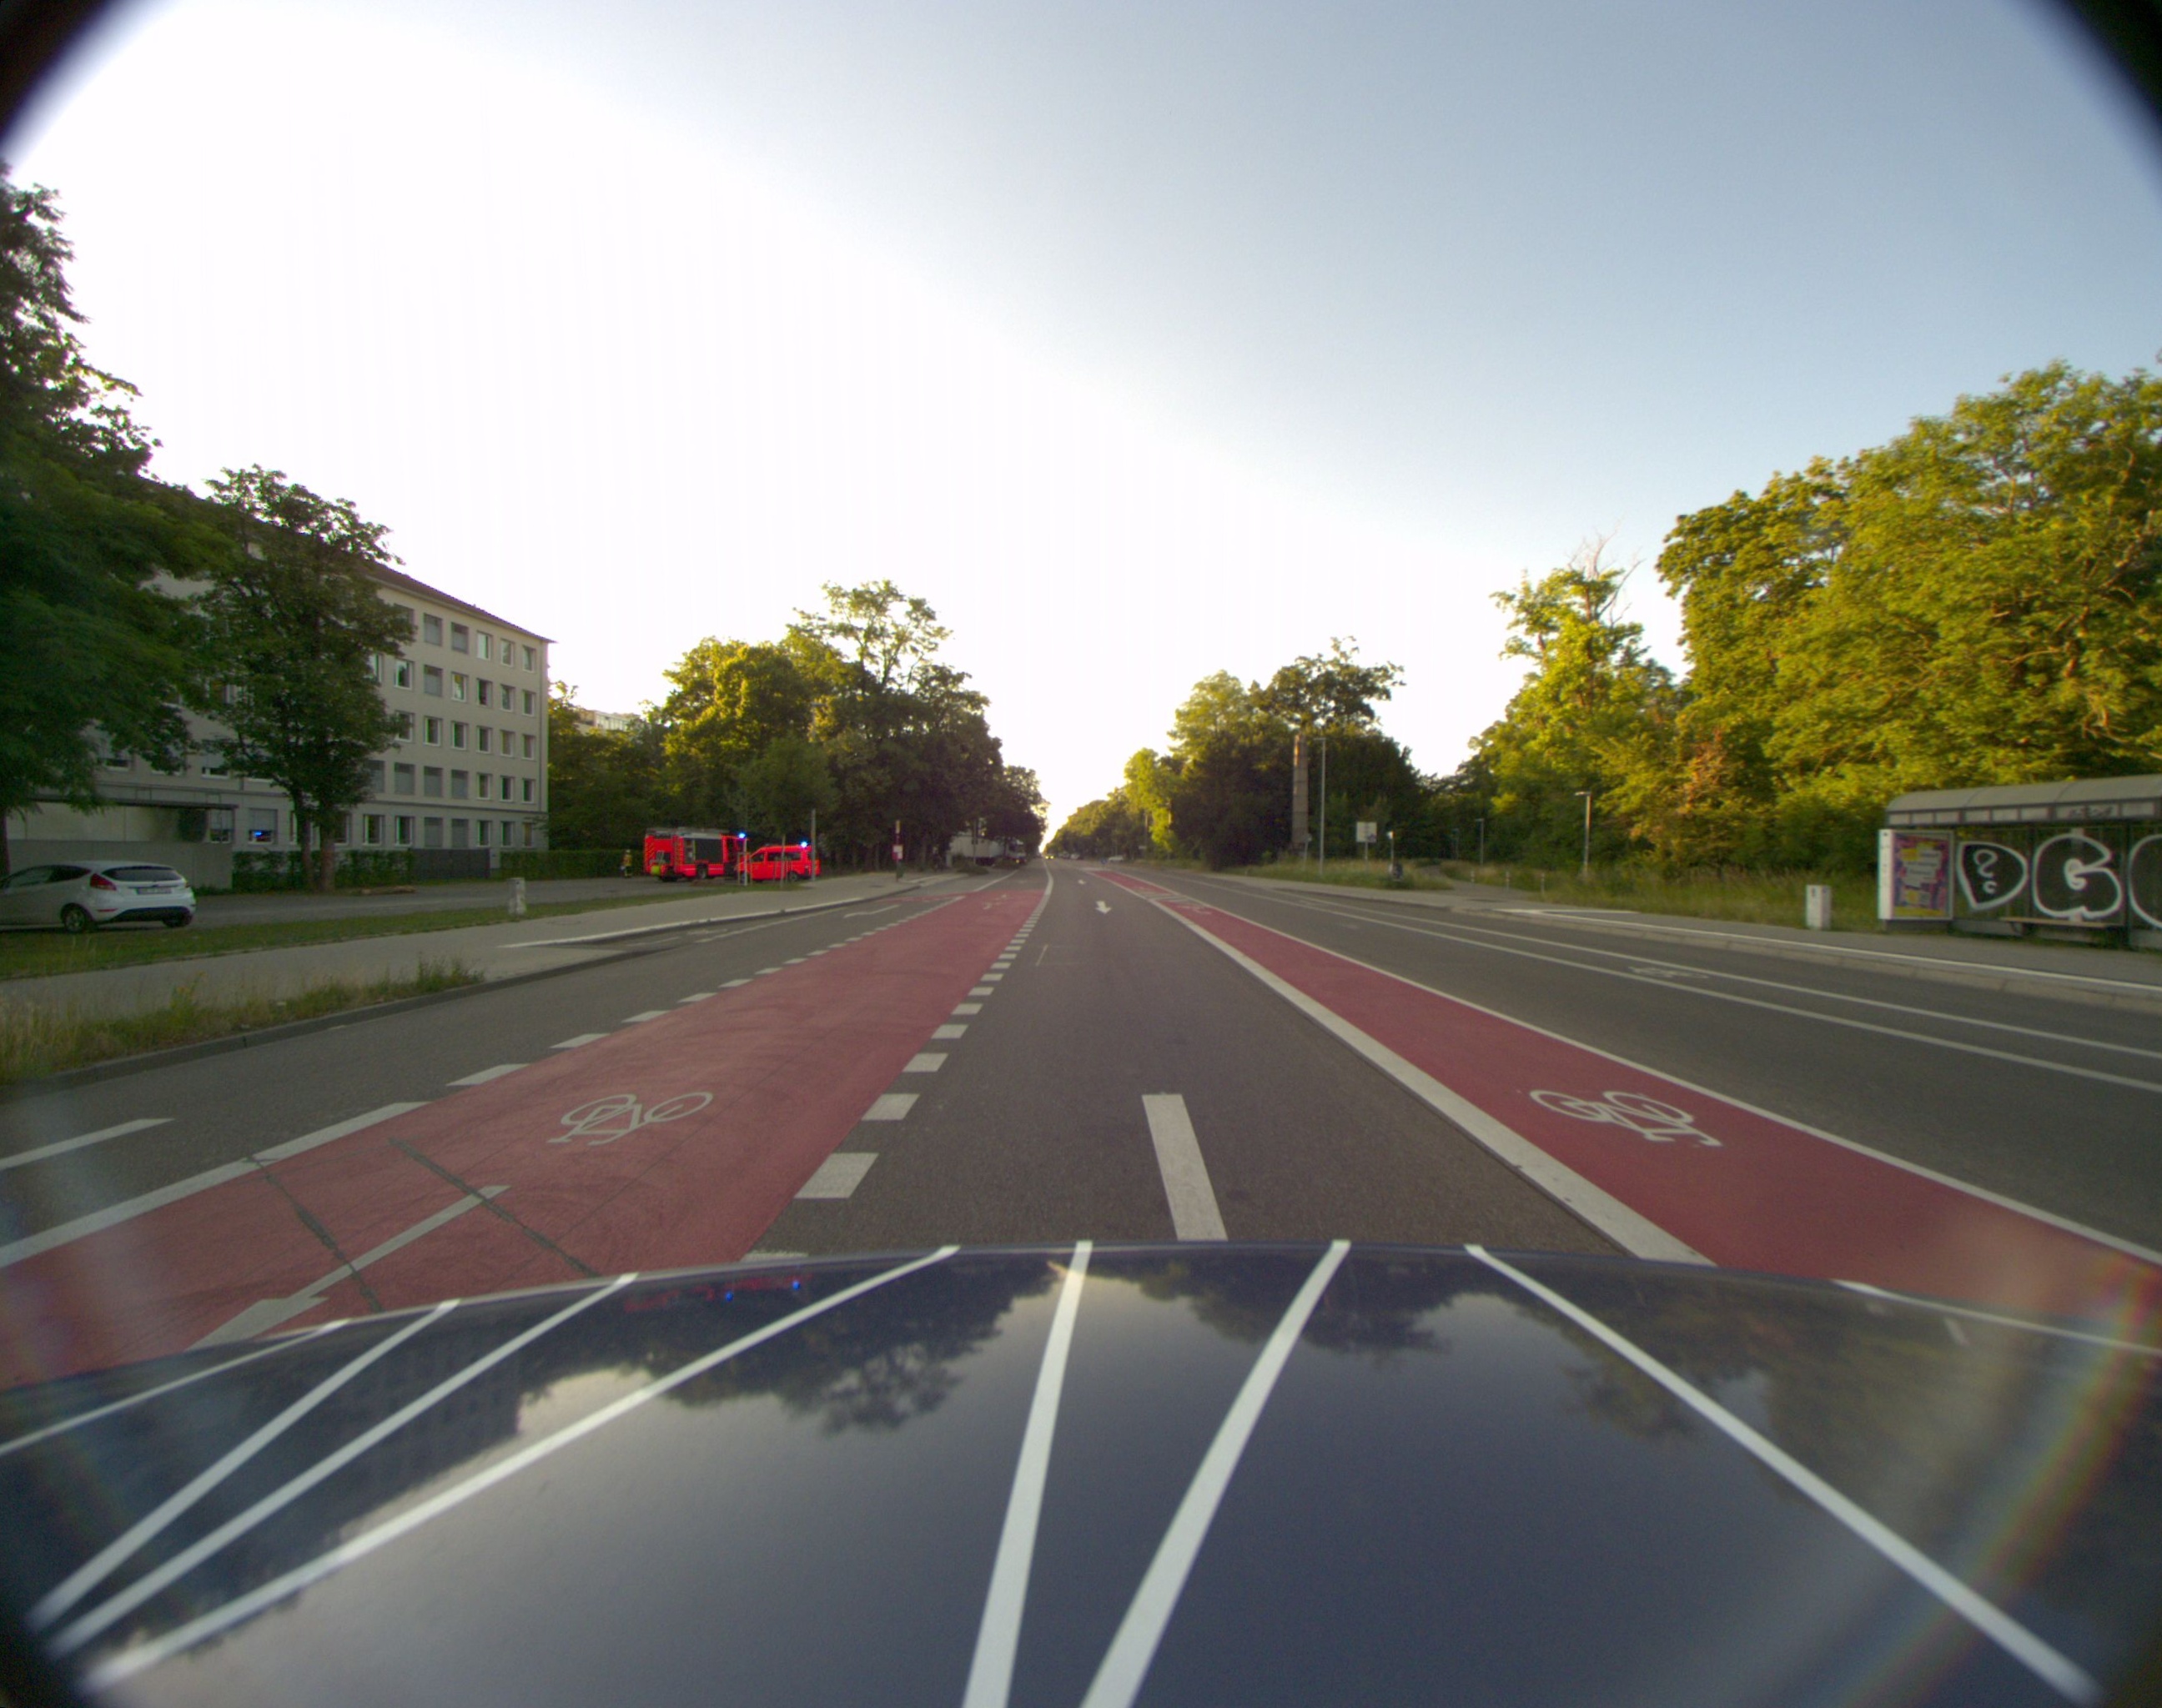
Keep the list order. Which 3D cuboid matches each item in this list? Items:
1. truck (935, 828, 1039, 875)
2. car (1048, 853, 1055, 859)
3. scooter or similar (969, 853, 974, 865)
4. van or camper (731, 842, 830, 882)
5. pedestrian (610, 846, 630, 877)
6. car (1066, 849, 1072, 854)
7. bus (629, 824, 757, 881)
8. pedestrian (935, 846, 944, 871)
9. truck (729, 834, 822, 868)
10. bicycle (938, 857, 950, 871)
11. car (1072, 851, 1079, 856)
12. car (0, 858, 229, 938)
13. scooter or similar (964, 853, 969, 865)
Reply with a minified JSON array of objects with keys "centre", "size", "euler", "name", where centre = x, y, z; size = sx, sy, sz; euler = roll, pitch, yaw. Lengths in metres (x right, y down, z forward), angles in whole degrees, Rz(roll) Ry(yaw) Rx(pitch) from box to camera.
[{"centre":[-12.117,-0.372,95.991],"size":[5.170,5.542,15.039],"euler":[0,1,-43],"name":"truck"},{"centre":[-8.541,0.515,217.695],"size":[1.999,1.608,3.999],"euler":[0,0,-1],"name":"car"},{"centre":[-11.986,0.578,83.205],"size":[0.483,1.274,1.139],"euler":[2,0,-8],"name":"scooter or similar"},{"centre":[-17.627,0.443,44.751],"size":[4.823,2.232,2.296],"euler":[-1,1,6],"name":"van or camper"},{"centre":[-29.961,0.456,49.386],"size":[0.772,2.002,0.826],"euler":[0,1,9],"name":"pedestrian"},{"centre":[-3.762,-0.753,234.532],"size":[1.754,1.299,3.999],"euler":[1,0,-2],"name":"car"},{"centre":[-23.716,-0.123,47.070],"size":[2.993,3.177,7.968],"euler":[-1,1,8],"name":"bus"},{"centre":[-11.340,0.374,60.930],"size":[0.725,2.002,0.694],"euler":[0,1,-12],"name":"pedestrian"},{"centre":[-29.831,-0.269,74.153],"size":[8.645,3.192,2.765],"euler":[0,0,17],"name":"truck"},{"centre":[-11.065,0.825,61.331],"size":[0.833,1.091,1.966],"euler":[0,1,-12],"name":"bicycle"},{"centre":[-1.638,-0.238,212.452],"size":[1.851,1.406,4.180],"euler":[0,0,1],"name":"car"},{"centre":[-20.970,0.899,16.026],"size":[3.996,1.528,1.912],"euler":[-1,1,4],"name":"car"},{"centre":[-12.236,0.560,81.388],"size":[0.483,1.274,1.230],"euler":[2,0,-8],"name":"scooter or similar"}]
